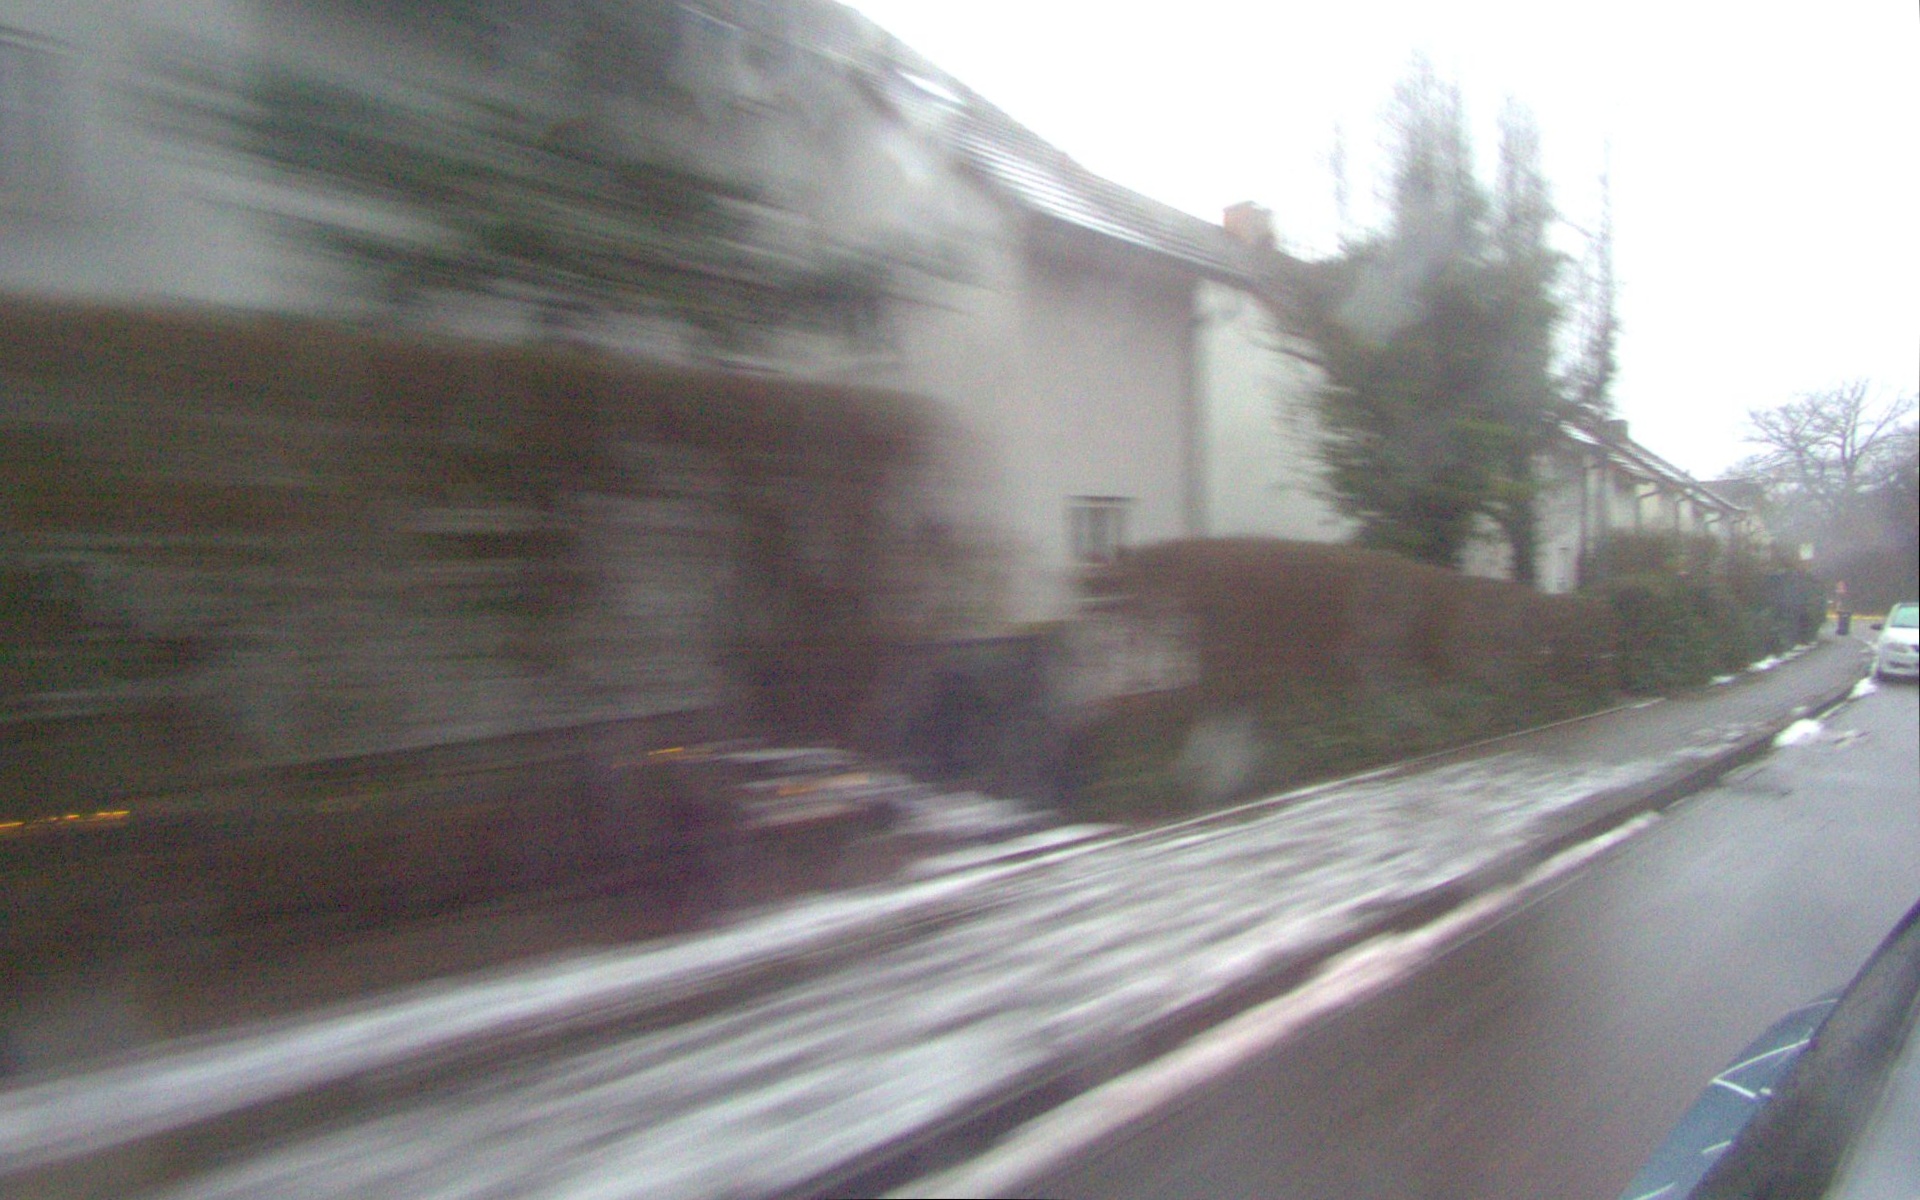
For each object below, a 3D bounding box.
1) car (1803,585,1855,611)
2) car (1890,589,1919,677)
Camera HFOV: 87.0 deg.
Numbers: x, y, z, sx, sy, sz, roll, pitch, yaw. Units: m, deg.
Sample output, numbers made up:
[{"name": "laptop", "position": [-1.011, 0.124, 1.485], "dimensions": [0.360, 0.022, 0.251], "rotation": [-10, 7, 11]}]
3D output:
[{"name": "car", "position": [50.694, -0.124, 59.108], "dimensions": [1.731, 1.447, 4.404], "rotation": [-1, 0, 33]}, {"name": "car", "position": [18.530, 0.567, 18.899], "dimensions": [1.703, 1.525, 3.963], "rotation": [0, 1, 43]}]
